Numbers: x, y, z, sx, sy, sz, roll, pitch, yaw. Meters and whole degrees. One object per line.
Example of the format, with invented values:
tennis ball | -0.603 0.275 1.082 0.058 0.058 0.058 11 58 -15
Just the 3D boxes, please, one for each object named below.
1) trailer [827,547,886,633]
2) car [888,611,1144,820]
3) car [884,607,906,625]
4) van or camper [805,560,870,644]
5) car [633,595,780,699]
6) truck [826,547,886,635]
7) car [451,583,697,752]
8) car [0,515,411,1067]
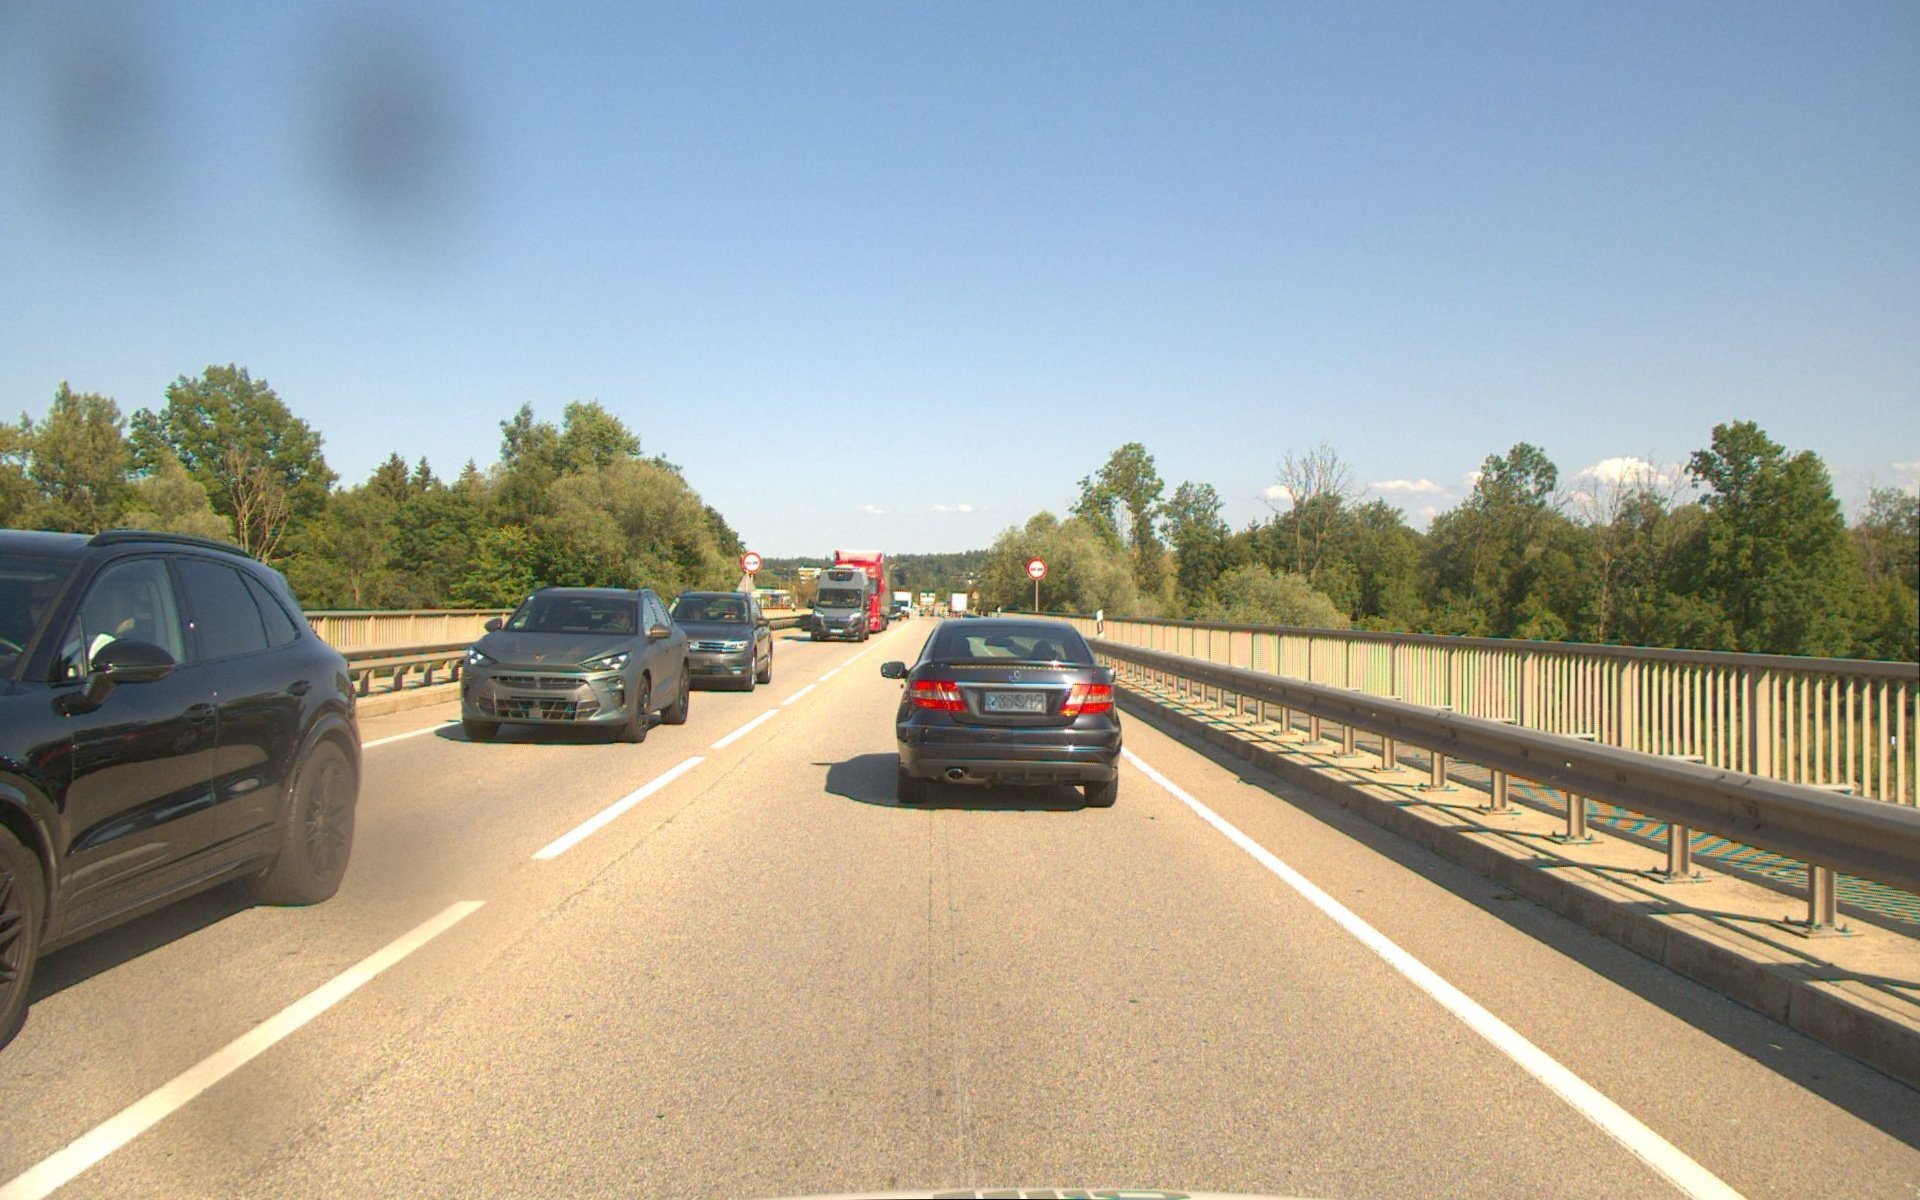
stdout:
trailer | -5.895 -0.499 92.112 2.851 4.377 14.287 1 0 -5
car | 0.398 0.820 13.519 1.756 1.400 4.000 1 0 0
car | -6.261 1.505 158.513 1.805 1.671 4.571 0 0 -6
van or camper | -4.755 0.075 65.014 2.268 3.104 6.814 0 0 -2
car | -4.283 0.761 28.559 1.836 1.611 4.273 1 0 0
truck | -5.346 -0.448 84.626 2.850 4.258 5.708 1 0 -4
car | -4.094 0.662 18.214 1.770 1.605 4.200 1 0 -1
car | -3.915 0.564 6.331 2.011 1.681 4.721 1 0 0
